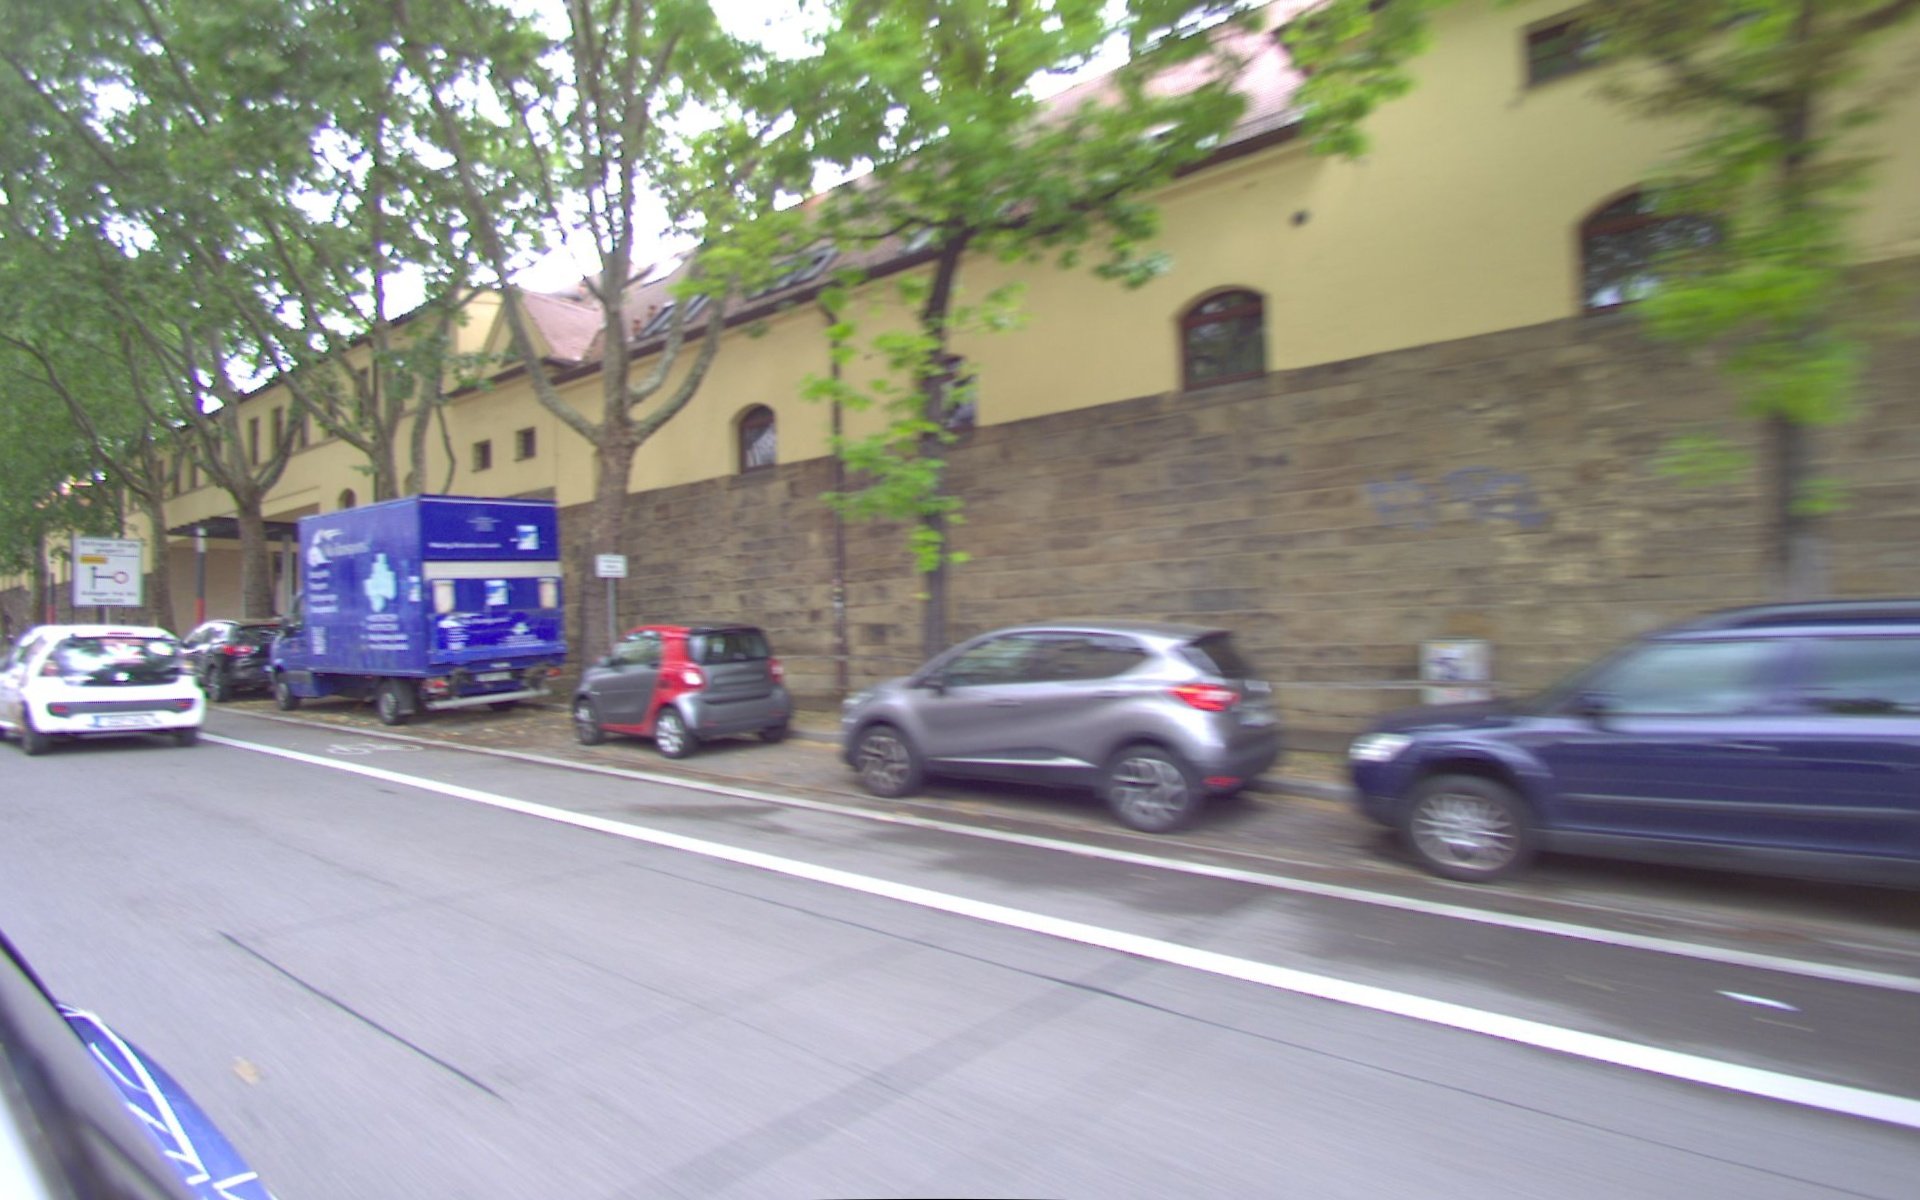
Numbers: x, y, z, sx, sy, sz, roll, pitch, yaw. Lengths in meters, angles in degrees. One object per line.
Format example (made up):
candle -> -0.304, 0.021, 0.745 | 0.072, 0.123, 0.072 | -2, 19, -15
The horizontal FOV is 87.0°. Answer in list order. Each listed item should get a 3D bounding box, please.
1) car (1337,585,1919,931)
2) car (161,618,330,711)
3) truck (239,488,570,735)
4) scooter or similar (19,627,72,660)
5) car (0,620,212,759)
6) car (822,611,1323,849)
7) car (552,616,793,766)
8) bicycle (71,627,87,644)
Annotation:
car -> 4.499, 0.755, 5.843 | 4.107, 1.643, 1.495 | -1, 1, 36
car -> -15.057, 1.264, 21.261 | 4.246, 1.702, 1.715 | -1, 1, 38
truck -> -9.669, 0.194, 17.223 | 7.236, 3.442, 2.194 | -1, 0, 38
scooter or similar -> -37.581, 1.774, 41.608 | 0.443, 1.249, 1.612 | -1, 0, 16
car -> -10.796, 1.015, 12.513 | 3.647, 1.475, 1.567 | -1, -4, 39
car -> 0.844, 0.917, 8.800 | 4.078, 1.585, 1.580 | -1, 1, 36
car -> -3.634, 1.023, 12.620 | 2.990, 1.585, 1.465 | -1, 1, 40
bicycle -> -44.772, 1.796, 51.430 | 1.774, 0.852, 0.332 | -1, -1, 39
